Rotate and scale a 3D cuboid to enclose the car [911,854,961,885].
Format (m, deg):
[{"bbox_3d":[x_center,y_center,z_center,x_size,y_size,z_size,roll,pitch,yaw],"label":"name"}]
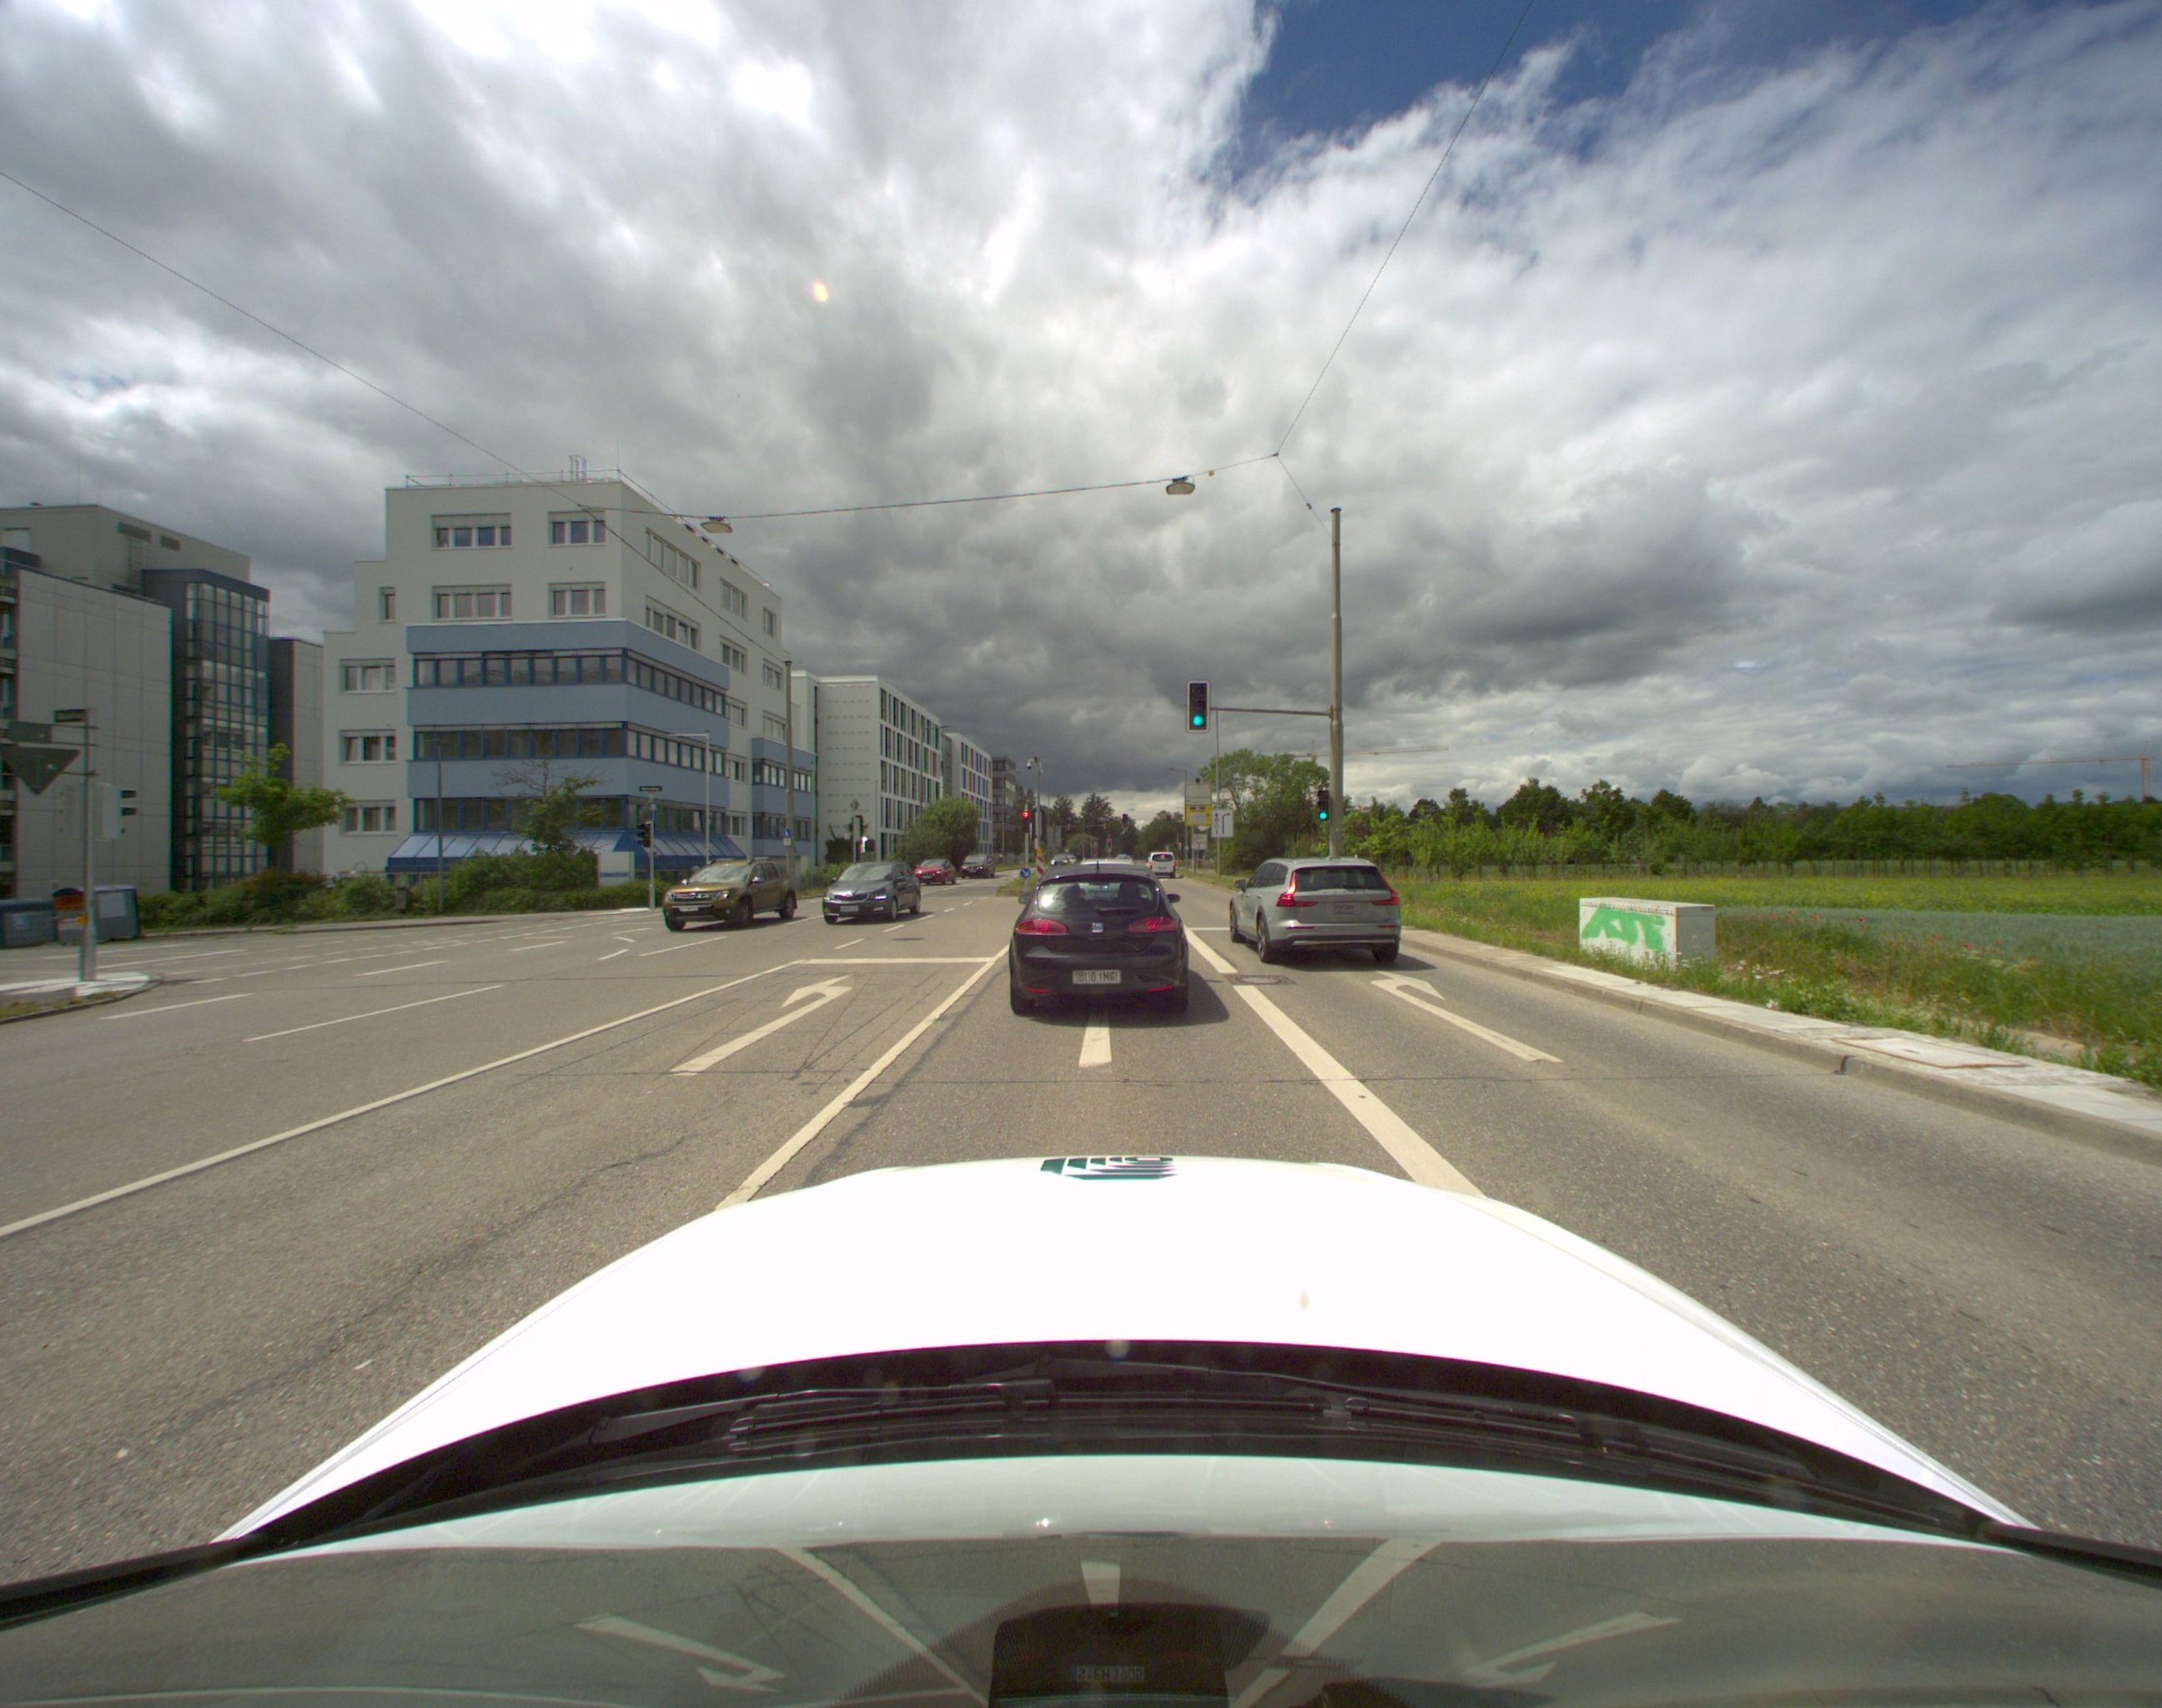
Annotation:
[{"bbox_3d":[-7.903,0.835,44.840,1.768,1.612,4.004,-1,-1,4],"label":"car"}]

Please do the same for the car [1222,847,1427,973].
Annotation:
[{"bbox_3d":[3.481,0.744,12.570,1.950,1.525,4.342,-2,-1,2],"label":"car"}]

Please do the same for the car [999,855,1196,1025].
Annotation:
[{"bbox_3d":[0.323,0.779,9.227,1.739,1.484,4.006,0,-1,5],"label":"car"}]

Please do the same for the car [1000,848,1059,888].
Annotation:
[{"bbox_3d":[-1.944,0.535,31.891,1.838,1.461,4.059,-1,-1,3],"label":"car"}]

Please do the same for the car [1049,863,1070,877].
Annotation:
[{"bbox_3d":[-2.225,1.639,84.762,1.986,1.409,4.001,-1,-1,2],"label":"car"}]

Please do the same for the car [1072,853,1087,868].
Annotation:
[{"bbox_3d":[-0.203,0.874,112.078,1.986,2.014,4.001,-1,-1,2],"label":"car"}]

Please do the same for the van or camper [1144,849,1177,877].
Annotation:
[{"bbox_3d":[5.701,0.665,59.048,1.894,1.926,3.998,-1,-1,-1],"label":"van or camper"}]

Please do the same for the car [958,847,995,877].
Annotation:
[{"bbox_3d":[-7.242,0.581,56.980,1.987,2.014,4.479,-1,-1,-1],"label":"car"}]

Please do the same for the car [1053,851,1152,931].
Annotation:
[{"bbox_3d":[0.475,0.735,18.585,1.976,1.590,4.227,0,0,1],"label":"car"}]

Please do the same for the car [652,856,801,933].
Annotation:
[{"bbox_3d":[-8.541,0.901,20.052,1.744,1.631,4.001,-3,0,2],"label":"car"}]

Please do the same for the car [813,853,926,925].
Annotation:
[{"bbox_3d":[-5.249,0.807,20.761,1.662,1.524,4.010,-2,1,2],"label":"car"}]
